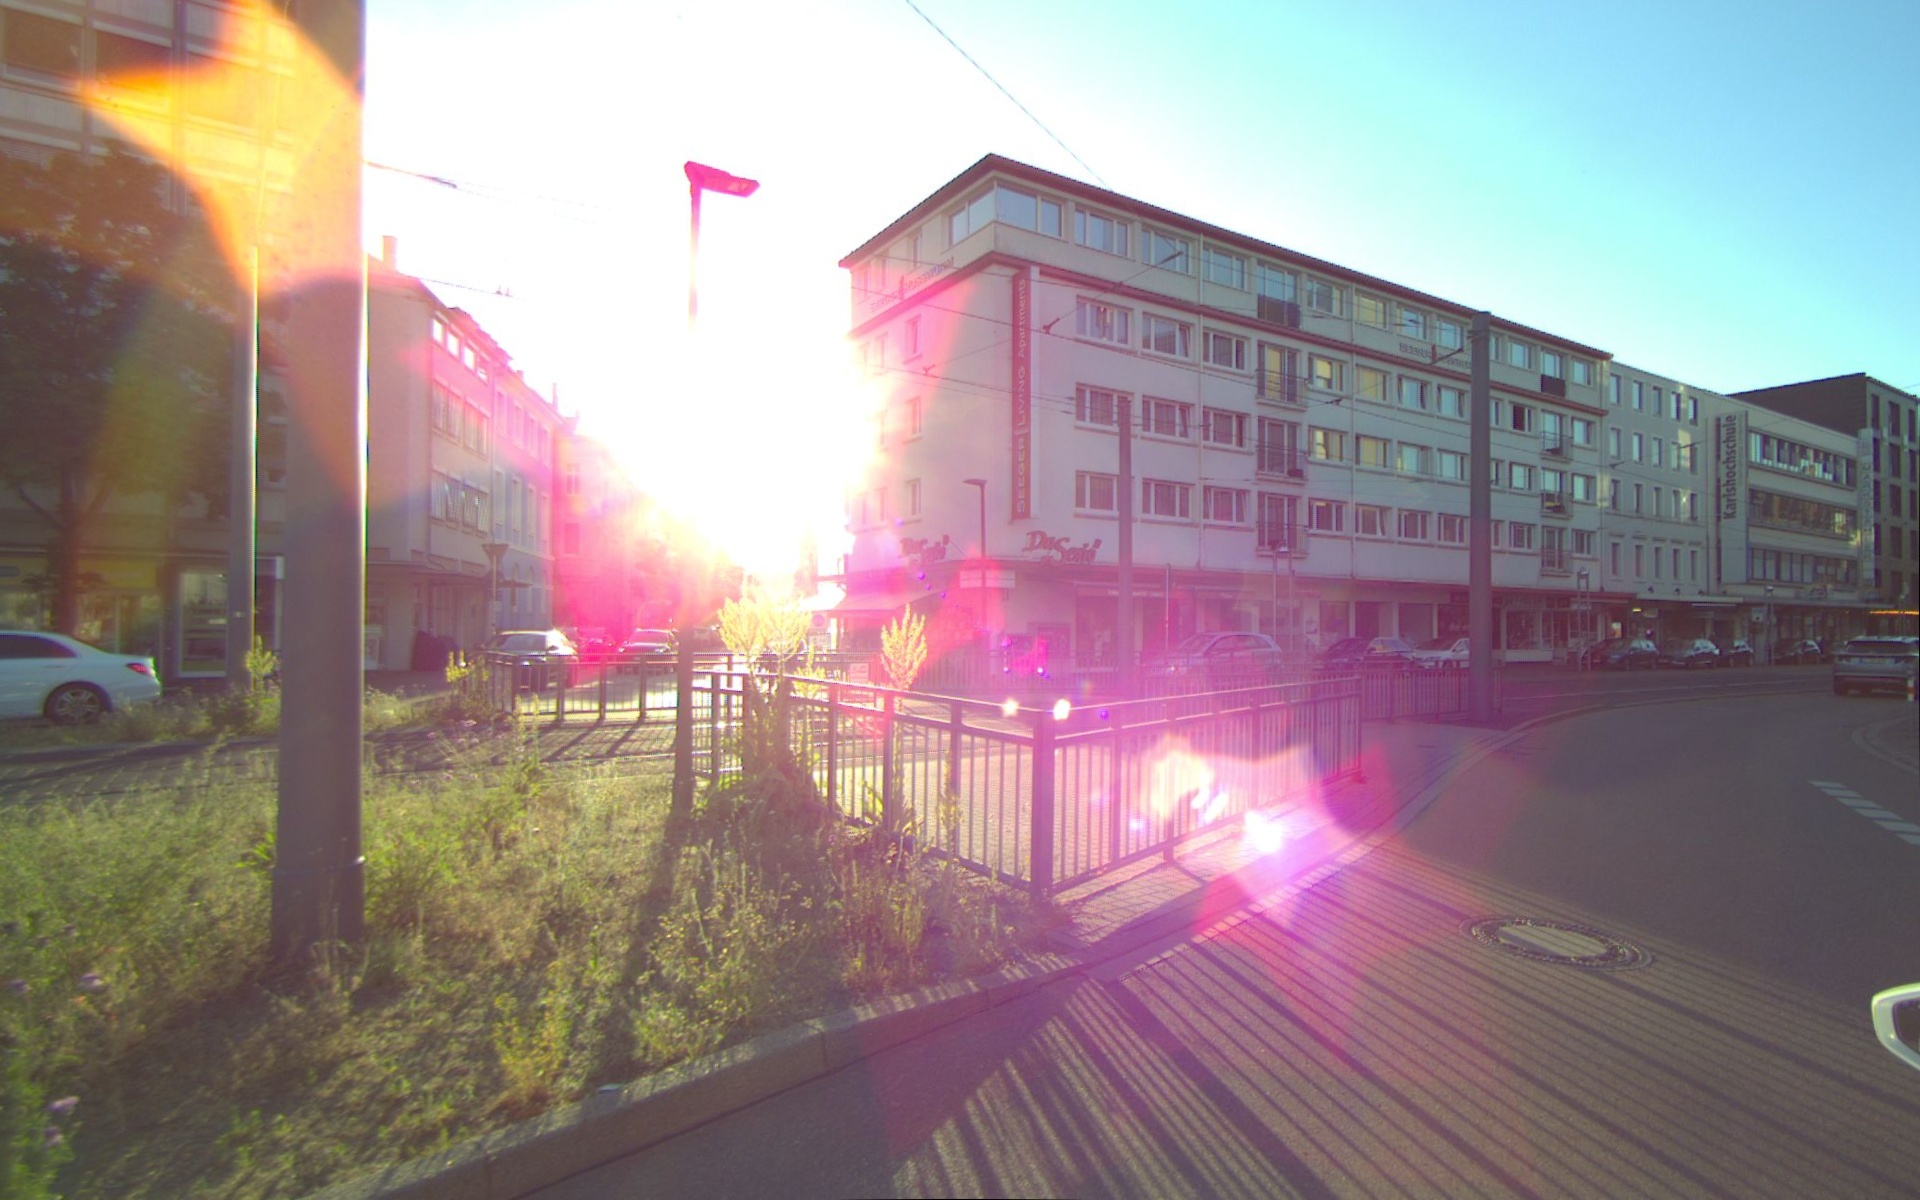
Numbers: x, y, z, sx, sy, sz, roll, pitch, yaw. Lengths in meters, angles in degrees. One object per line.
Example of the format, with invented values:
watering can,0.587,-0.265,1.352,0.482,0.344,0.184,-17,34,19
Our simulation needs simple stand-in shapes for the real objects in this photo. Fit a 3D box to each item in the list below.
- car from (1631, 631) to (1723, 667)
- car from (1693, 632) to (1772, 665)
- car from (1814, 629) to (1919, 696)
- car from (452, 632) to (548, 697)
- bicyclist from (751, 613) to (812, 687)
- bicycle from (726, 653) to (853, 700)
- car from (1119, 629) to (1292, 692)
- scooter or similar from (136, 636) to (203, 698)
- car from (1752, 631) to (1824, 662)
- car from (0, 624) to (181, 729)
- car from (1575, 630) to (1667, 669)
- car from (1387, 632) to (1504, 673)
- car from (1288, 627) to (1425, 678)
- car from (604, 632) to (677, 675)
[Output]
car,35.226,2.377,49.297,4.584,1.687,1.984,1,-2,-30
car,40.650,2.538,52.852,3.953,1.687,1.984,1,-2,-30
car,25.617,1.684,27.850,4.491,1.683,1.930,2,-1,-35
car,-11.375,1.537,25.105,1.710,1.455,4.354,1,-2,-19
bicyclist,-3.574,0.995,20.195,0.912,1.460,0.835,0,-2,16
bicycle,-3.420,1.512,20.143,2.374,0.858,0.847,0,-2,16
car,6.675,1.587,27.314,4.228,1.580,2.189,1,-2,-29
scooter or similar,-17.766,1.485,22.608,0.505,1.339,1.281,0,-2,-2
car,47.867,2.680,58.061,3.953,1.687,1.984,1,-2,-30
car,-14.360,1.081,14.534,2.012,1.460,4.635,-1,-2,43
car,30.334,2.260,46.104,3.953,1.687,1.984,1,-2,-30
car,18.649,1.972,38.589,4.350,1.484,1.984,1,-2,-30
car,13.979,1.811,35.341,4.783,1.687,1.984,1,-2,-30
car,-12.549,2.047,39.304,1.864,1.594,4.217,1,-2,-29
